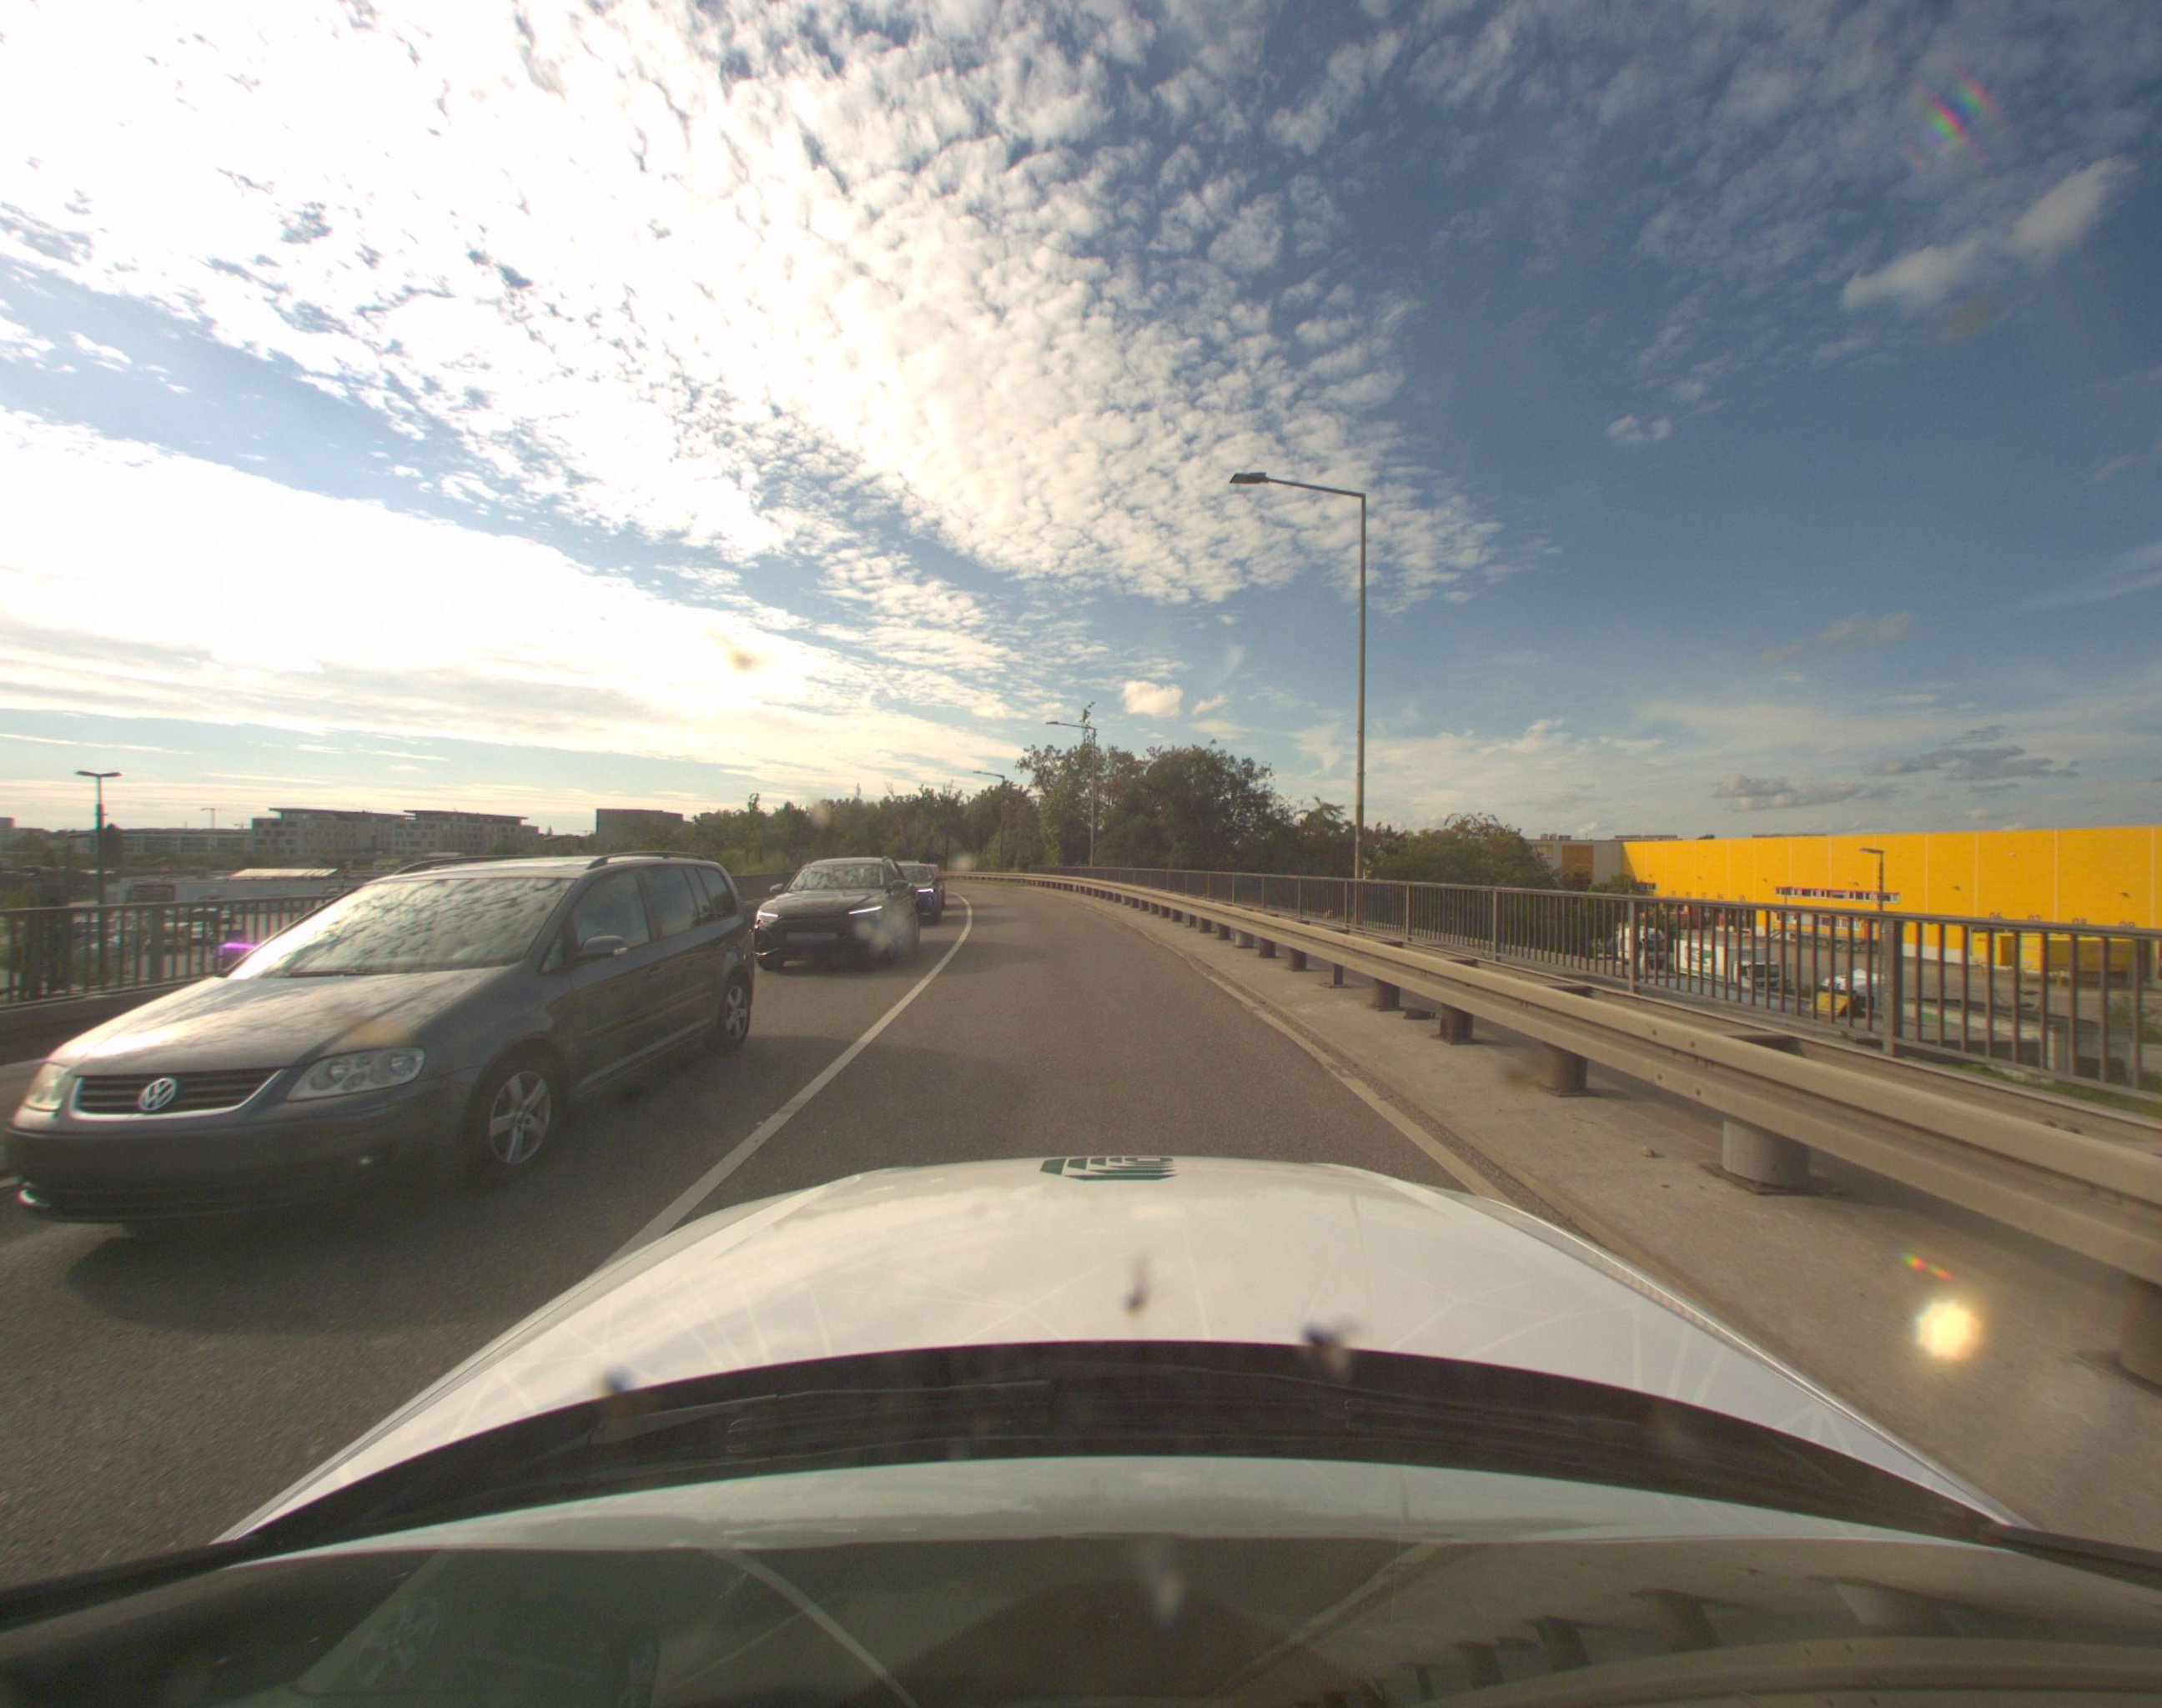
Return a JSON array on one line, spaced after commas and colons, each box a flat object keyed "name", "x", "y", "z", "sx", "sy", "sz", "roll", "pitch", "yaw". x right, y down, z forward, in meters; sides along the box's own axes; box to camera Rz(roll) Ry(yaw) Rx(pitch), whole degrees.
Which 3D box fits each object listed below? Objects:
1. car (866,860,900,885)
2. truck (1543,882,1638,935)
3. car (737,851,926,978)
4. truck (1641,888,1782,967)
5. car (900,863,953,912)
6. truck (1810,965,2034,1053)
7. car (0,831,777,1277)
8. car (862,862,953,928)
[{"name": "car", "x": -15.416, "y": 1.459, "z": 63.213, "sx": 1.907, "sy": 1.810, "sz": 5.366, "roll": -1, "pitch": -1, "yaw": -21}, {"name": "truck", "x": 53.497, "y": 5.615, "z": 86.065, "sx": 3.613, "sy": 4.855, "sz": 11.291, "roll": -1, "pitch": -1, "yaw": 5}, {"name": "car", "x": -3.805, "y": 0.837, "z": 13.327, "sx": 1.922, "sy": 1.649, "sz": 4.581, "roll": -2, "pitch": 0, "yaw": -4}, {"name": "truck", "x": 52.062, "y": 5.873, "z": 67.925, "sx": 3.613, "sy": 5.659, "sz": 11.291, "roll": -1, "pitch": -1, "yaw": 5}, {"name": "car", "x": -5.165, "y": 1.068, "z": 27.425, "sx": 1.599, "sy": 1.464, "sz": 3.724, "roll": -2, "pitch": 0, "yaw": -10}, {"name": "truck", "x": 44.231, "y": 8.149, "z": 43.036, "sx": 8.548, "sy": 4.091, "sz": 2.671, "roll": -1, "pitch": 1, "yaw": 6}, {"name": "car", "x": -3.610, "y": 0.778, "z": 5.262, "sx": 1.676, "sy": 1.649, "sz": 4.296, "roll": -2, "pitch": 0, "yaw": -1}, {"name": "car", "x": -4.441, "y": 0.988, "z": 21.366, "sx": 1.796, "sy": 1.520, "sz": 4.001, "roll": -2, "pitch": 0, "yaw": -5}]
